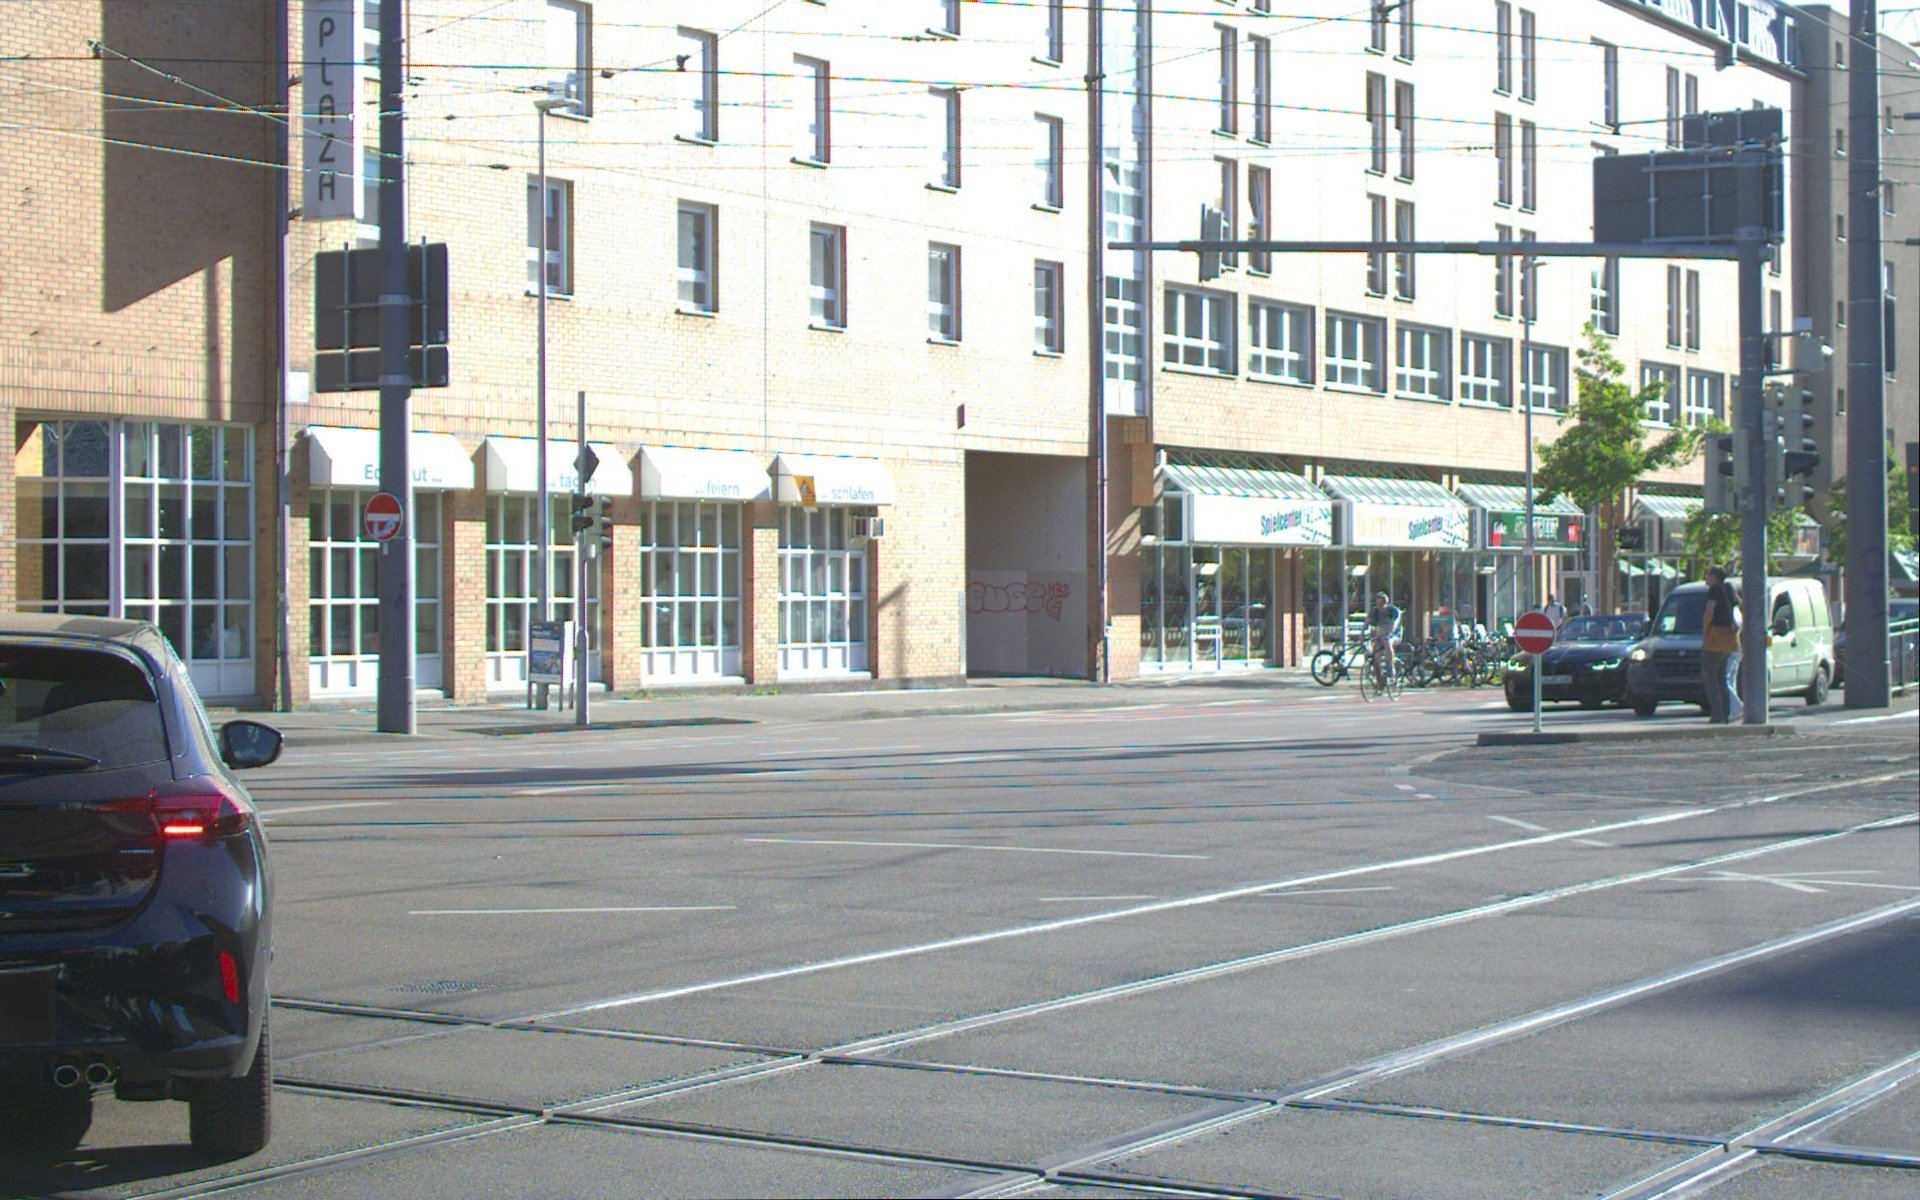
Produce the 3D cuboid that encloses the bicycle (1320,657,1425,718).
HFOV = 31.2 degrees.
[{"bbox_3d":[6.896,1.449,57.382,0.811,0.987,2.504,-2,-2,30],"label":"bicycle"}]

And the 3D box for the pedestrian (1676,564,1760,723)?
[{"bbox_3d":[8.329,0.481,37.777,0.722,1.721,0.593,-2,-2,33],"label":"pedestrian"}]

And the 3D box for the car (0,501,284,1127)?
[{"bbox_3d":[-3.032,0.512,9.918,1.671,1.497,3.691,1,0,-18],"label":"car"}]

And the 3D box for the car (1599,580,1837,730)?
[{"bbox_3d":[10.026,0.753,45.275,1.842,1.830,4.100,-3,-3,30],"label":"car"}]

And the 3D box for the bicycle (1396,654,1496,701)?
[{"bbox_3d":[9.755,1.557,69.037,2.038,0.918,0.482,-2,-2,42],"label":"bicycle"}]

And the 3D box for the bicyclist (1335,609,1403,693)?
[{"bbox_3d":[6.813,0.848,57.260,0.811,1.372,0.924,-2,-2,30],"label":"bicyclist"}]

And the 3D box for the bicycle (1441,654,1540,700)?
[{"bbox_3d":[10.781,1.567,69.866,2.038,0.918,0.482,-2,-2,42],"label":"bicycle"}]

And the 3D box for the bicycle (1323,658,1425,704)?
[{"bbox_3d":[8.036,1.576,66.743,2.038,0.842,0.482,-2,-2,42],"label":"bicycle"}]

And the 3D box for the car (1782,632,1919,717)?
[{"bbox_3d":[16.610,1.385,62.928,1.842,1.443,4.291,-3,-3,30],"label":"car"}]

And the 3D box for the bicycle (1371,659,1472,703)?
[{"bbox_3d":[9.101,1.596,67.843,2.038,0.842,0.482,-2,-2,42],"label":"bicycle"}]

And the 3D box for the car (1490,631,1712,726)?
[{"bbox_3d":[9.351,1.152,49.917,1.842,1.264,4.222,-3,-3,29],"label":"car"}]

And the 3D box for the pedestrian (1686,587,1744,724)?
[{"bbox_3d":[8.774,0.652,39.927,0.581,1.572,0.646,-1,-2,18],"label":"pedestrian"}]
